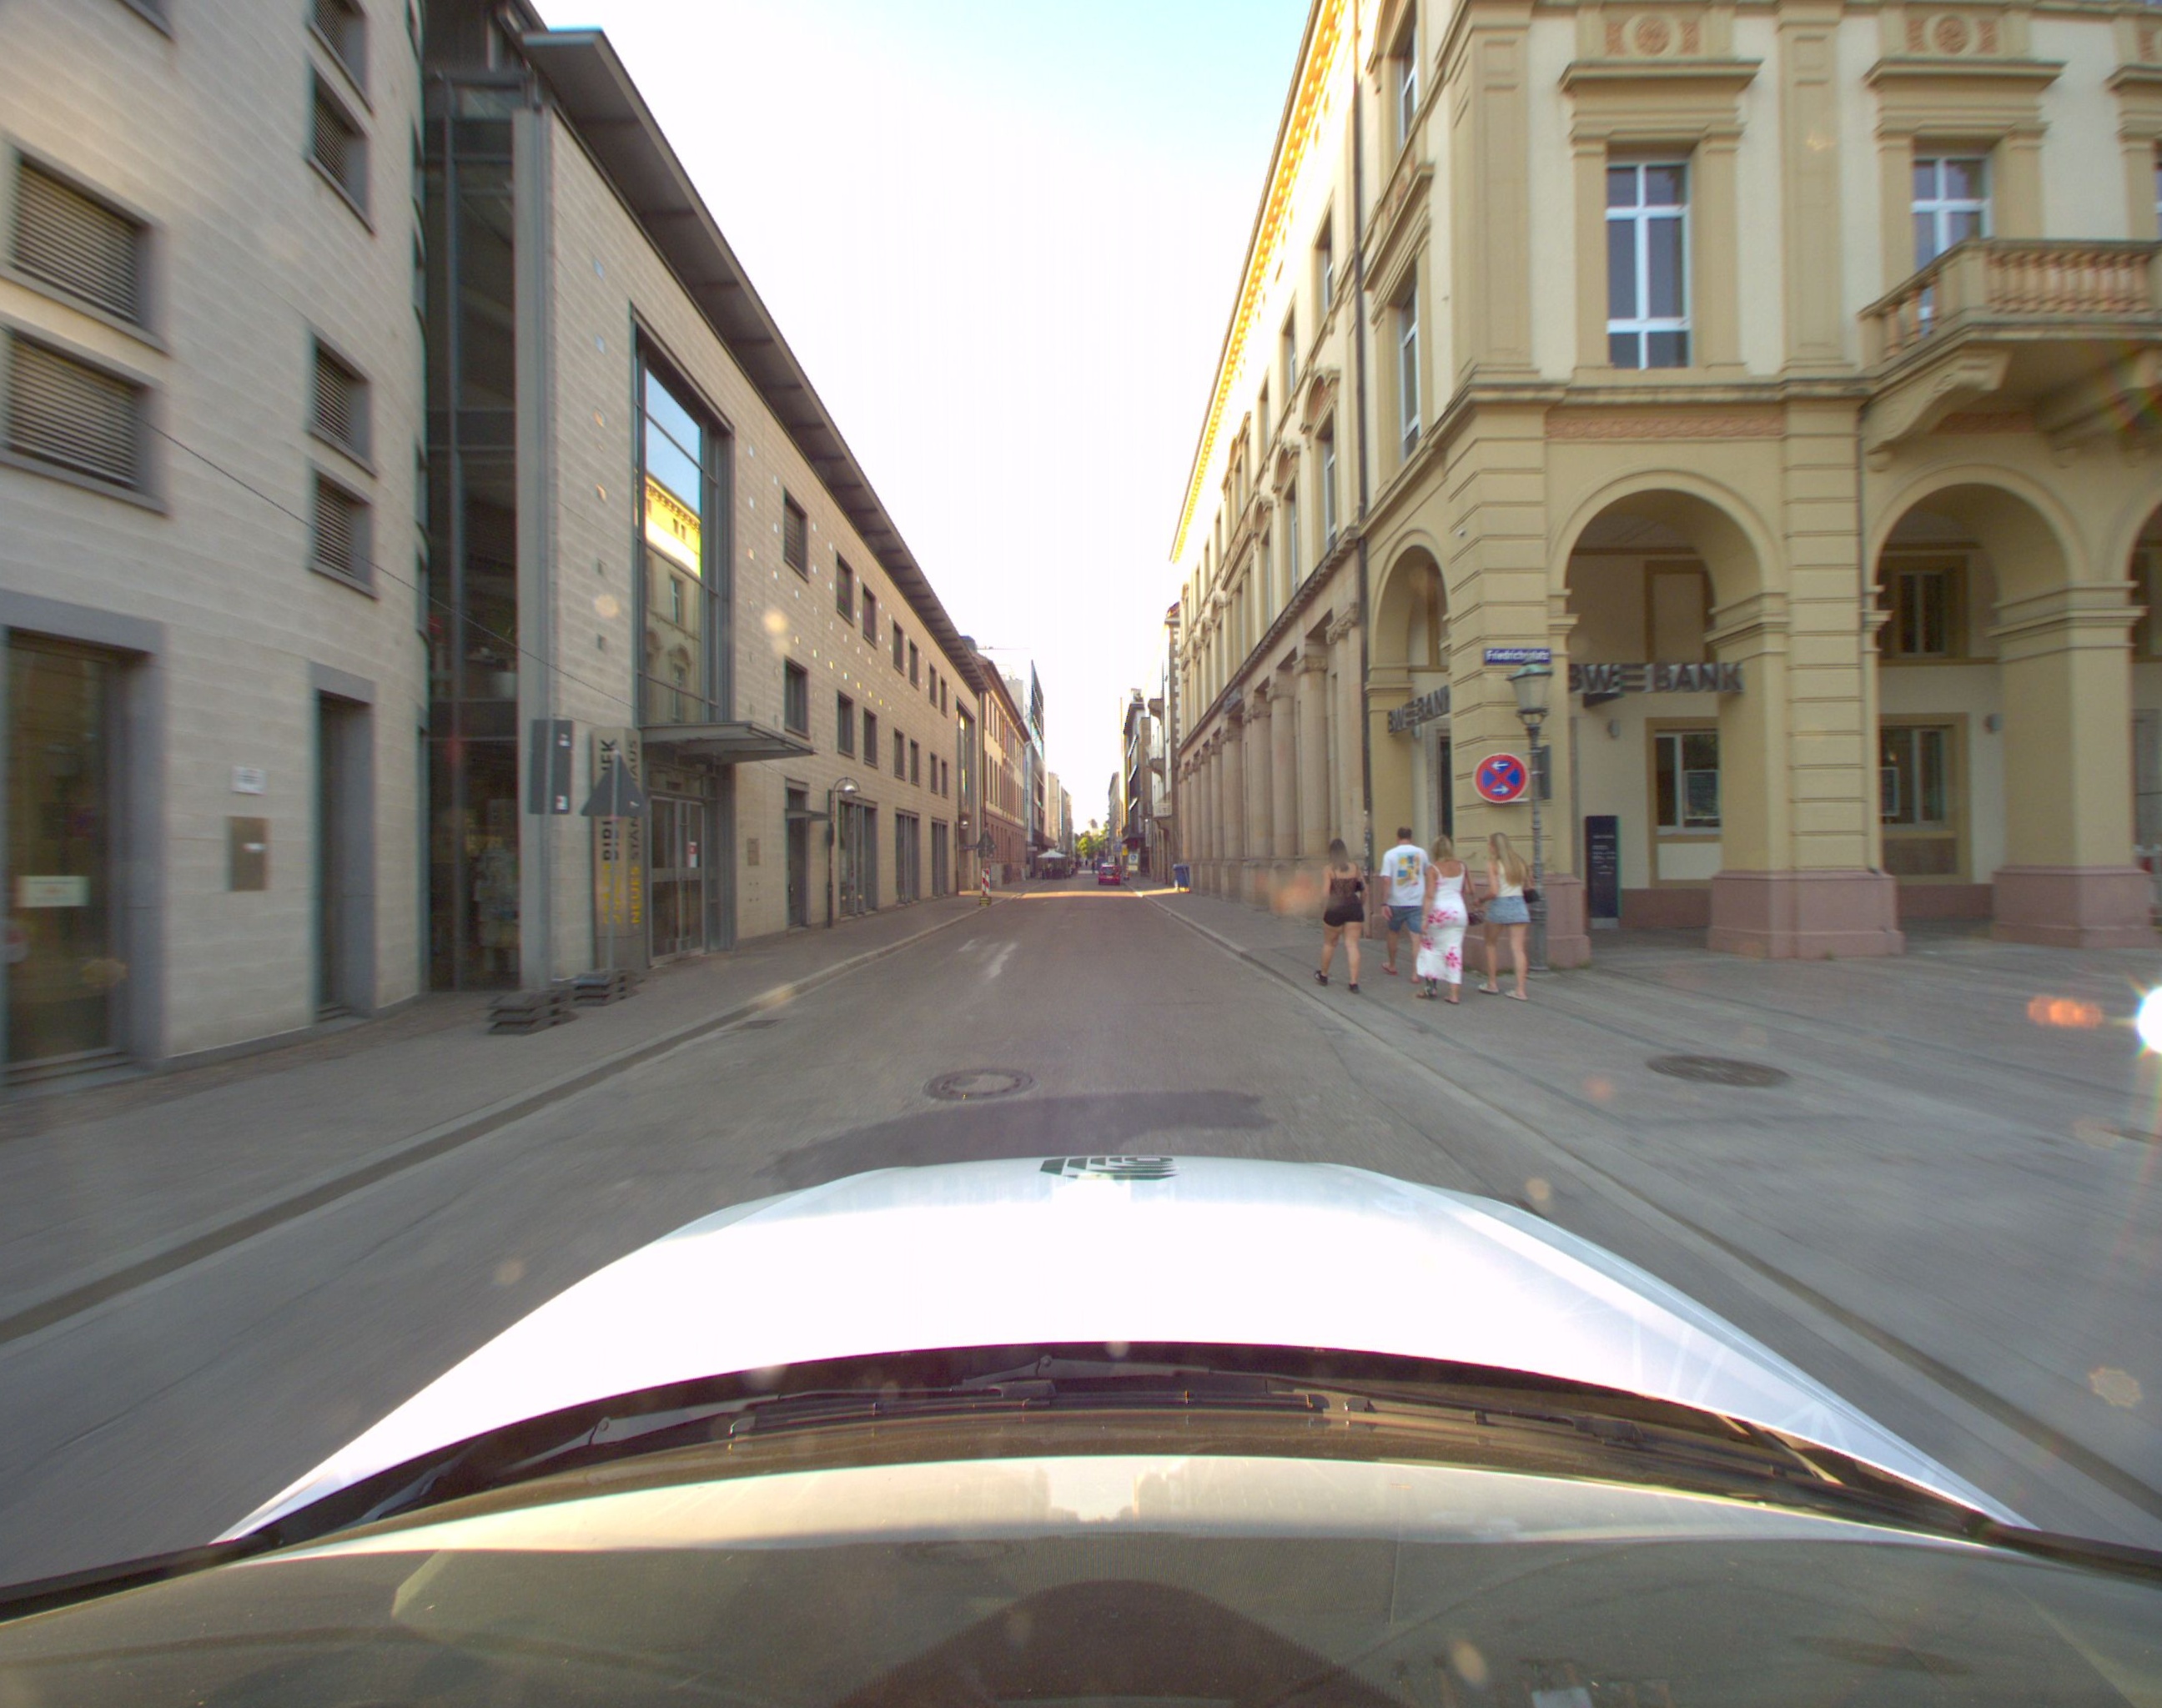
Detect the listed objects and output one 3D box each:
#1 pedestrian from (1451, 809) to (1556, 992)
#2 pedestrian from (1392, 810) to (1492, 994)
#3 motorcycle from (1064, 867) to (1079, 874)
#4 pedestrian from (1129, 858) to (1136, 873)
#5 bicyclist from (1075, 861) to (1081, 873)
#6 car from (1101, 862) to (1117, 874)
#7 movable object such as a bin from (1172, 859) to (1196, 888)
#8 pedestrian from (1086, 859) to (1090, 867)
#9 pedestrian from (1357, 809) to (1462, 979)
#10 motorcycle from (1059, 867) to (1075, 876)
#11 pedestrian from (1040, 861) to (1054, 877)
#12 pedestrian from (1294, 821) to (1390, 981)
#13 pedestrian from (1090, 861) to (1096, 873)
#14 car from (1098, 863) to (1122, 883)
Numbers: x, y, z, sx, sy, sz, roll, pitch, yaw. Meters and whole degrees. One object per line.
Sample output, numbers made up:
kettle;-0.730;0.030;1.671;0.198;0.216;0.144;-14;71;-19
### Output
pedestrian;4.394;0.468;8.511;0.634;1.803;0.771;-2;-1;0
pedestrian;3.744;0.480;8.496;0.634;1.803;0.771;-2;-1;0
motorcycle;-1.144;2.049;101.039;1.797;0.875;0.560;-1;-1;-4
pedestrian;5.185;1.168;82.688;0.654;1.488;0.493;-2;-1;2
bicyclist;-0.410;1.880;118.394;0.636;1.641;0.769;-2;-1;-8
car;3.797;1.854;110.679;1.988;1.611;3.998;-1;-1;-1
movable object such as a bin;5.059;0.961;40.222;0.987;1.392;1.240;-2;-1;0
pedestrian;1.590;1.880;176.253;0.801;1.673;0.889;-1;-1;2
pedestrian;3.818;0.449;9.536;0.809;1.875;0.875;-2;-1;-1
motorcycle;-1.643;2.011;92.851;1.797;1.040;0.493;-1;-1;-4
pedestrian;-3.233;1.395;77.037;1.287;1.488;0.661;-1;-1;-2
pedestrian;3.010;0.520;9.462;0.773;1.746;0.875;-2;-1;-1
pedestrian;1.666;1.822;114.365;0.863;1.713;0.852;-1;-1;0
car;2.160;1.423;61.146;1.643;1.427;3.536;1;-1;1
